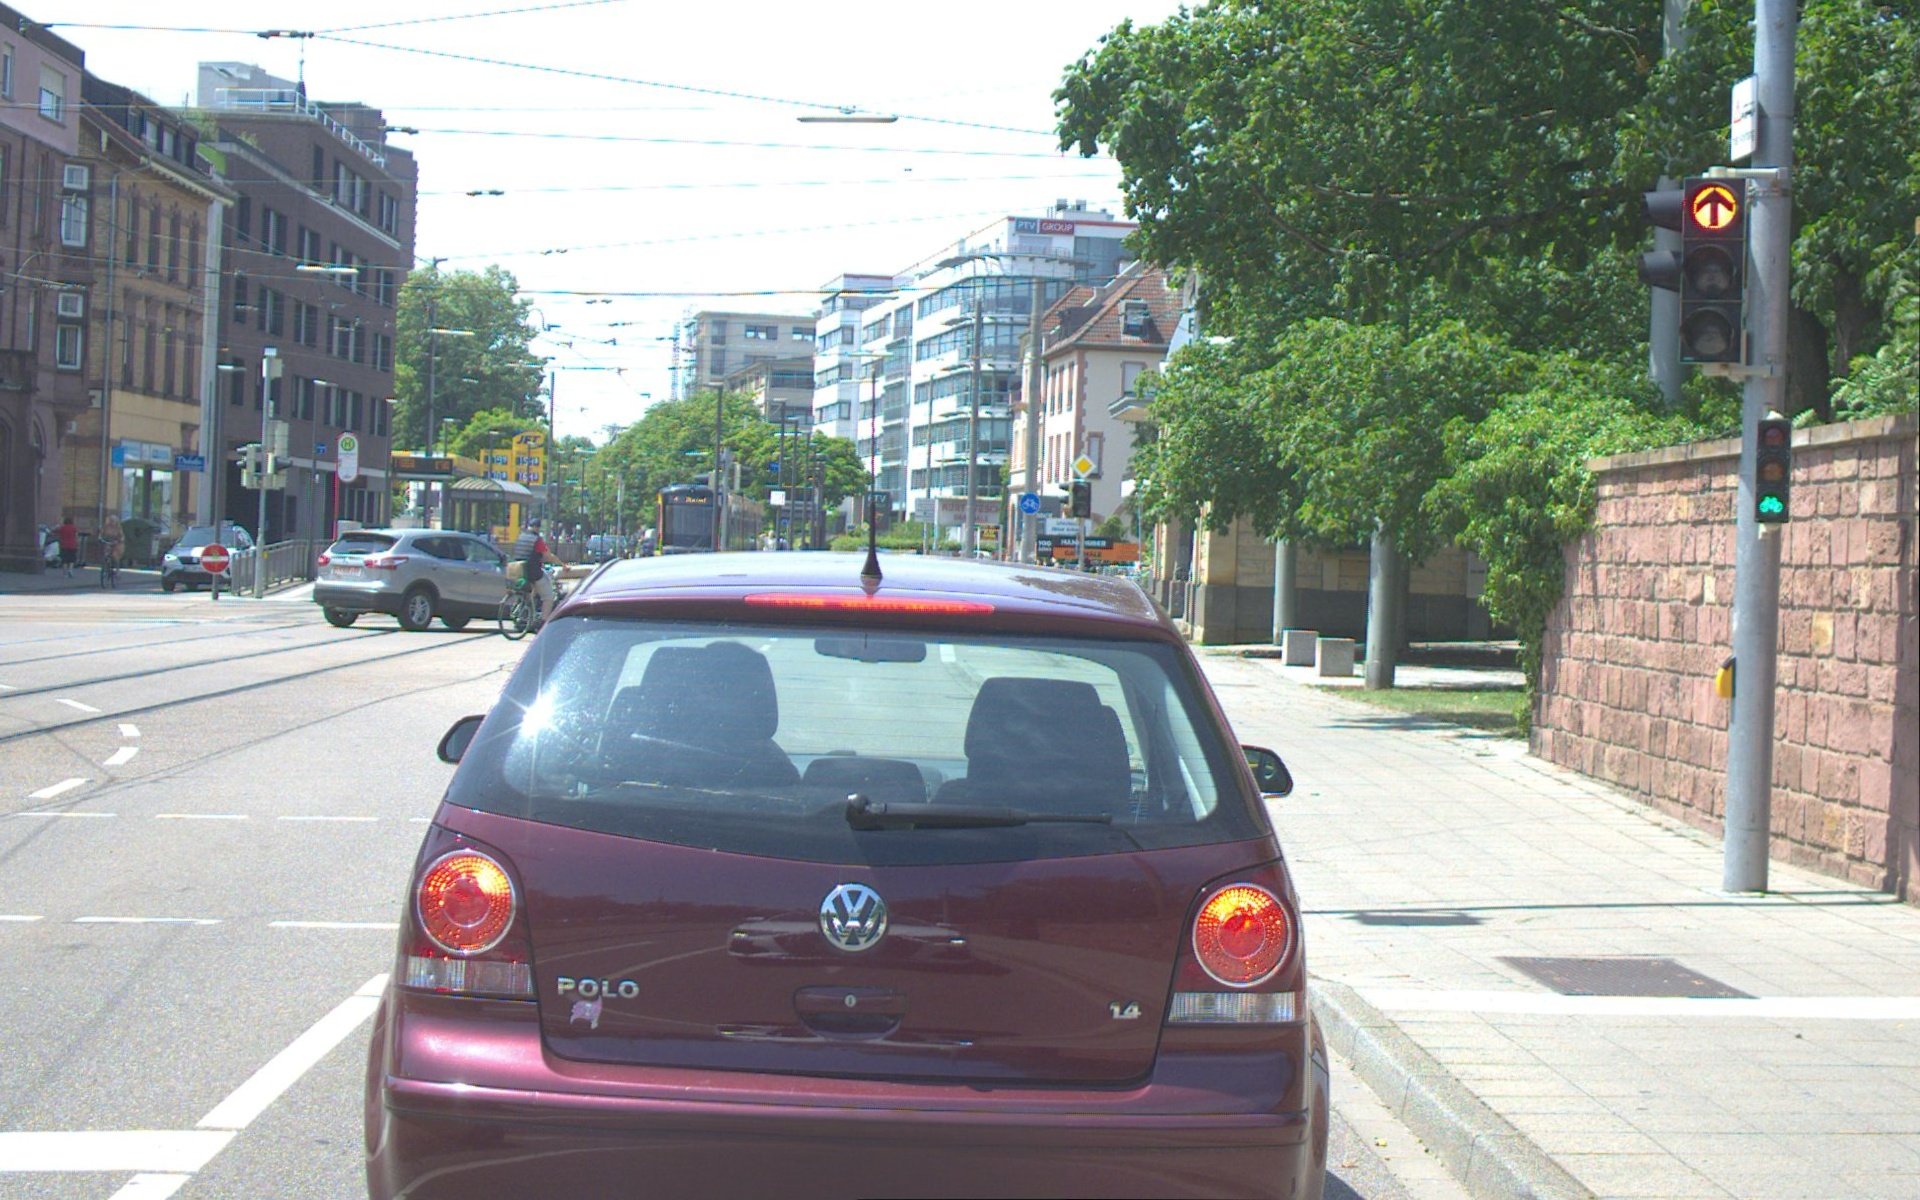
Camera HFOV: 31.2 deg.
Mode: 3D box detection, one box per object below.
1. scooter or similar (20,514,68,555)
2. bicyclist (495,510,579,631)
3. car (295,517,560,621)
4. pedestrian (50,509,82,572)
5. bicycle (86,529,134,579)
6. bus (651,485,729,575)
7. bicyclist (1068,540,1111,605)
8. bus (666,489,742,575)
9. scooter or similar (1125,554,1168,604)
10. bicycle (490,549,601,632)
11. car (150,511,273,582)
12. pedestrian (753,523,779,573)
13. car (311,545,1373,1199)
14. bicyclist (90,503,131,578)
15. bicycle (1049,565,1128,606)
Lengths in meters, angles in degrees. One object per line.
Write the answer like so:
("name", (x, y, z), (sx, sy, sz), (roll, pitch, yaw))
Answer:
("scooter or similar", (-24.463, -1.737, 91.853), (0.488, 1.078, 1.576), (2, 1, 16))
("bicyclist", (-6.242, -0.437, 50.744), (0.729, 1.754, 0.922), (3, 1, 37))
("car", (-8.336, -0.471, 54.084), (1.827, 1.525, 3.992), (3, 1, 35))
("pedestrian", (-22.280, -1.487, 85.683), (0.614, 1.555, 0.640), (2, 1, -1))
("bicycle", (-20.381, -1.112, 82.491), (0.694, 1.145, 1.932), (2, 2, -2))
("bus", (-9.384, -2.429, 119.948), (2.145, 2.993, 6.574), (2, 1, 0))
("bicyclist", (3.288, -0.697, 86.974), (0.858, 1.612, 0.834), (-1, 2, 18))
("bus", (-9.390, -2.496, 126.536), (2.233, 2.993, 6.594), (2, 1, 0))
("scooter or similar", (4.530, -0.509, 83.623), (0.339, 1.174, 1.468), (2, 1, -25))
("bicycle", (-6.122, -0.133, 50.857), (0.376, 1.193, 1.901), (3, 2, 38))
("car", (-17.580, -1.255, 80.939), (1.993, 1.547, 4.139), (2, 1, -1))
("pedestrian", (-6.610, -1.765, 116.968), (0.763, 1.669, 1.100), (2, 1, 0))
("car", (-0.229, 0.649, 6.703), (1.561, 1.448, 3.062), (2, 1, -2))
("bicyclist", (-20.385, -1.436, 82.505), (0.694, 1.759, 1.137), (2, 2, -2))
("bicycle", (3.246, -0.376, 86.962), (1.859, 0.999, 0.670), (0, 2, 19))
